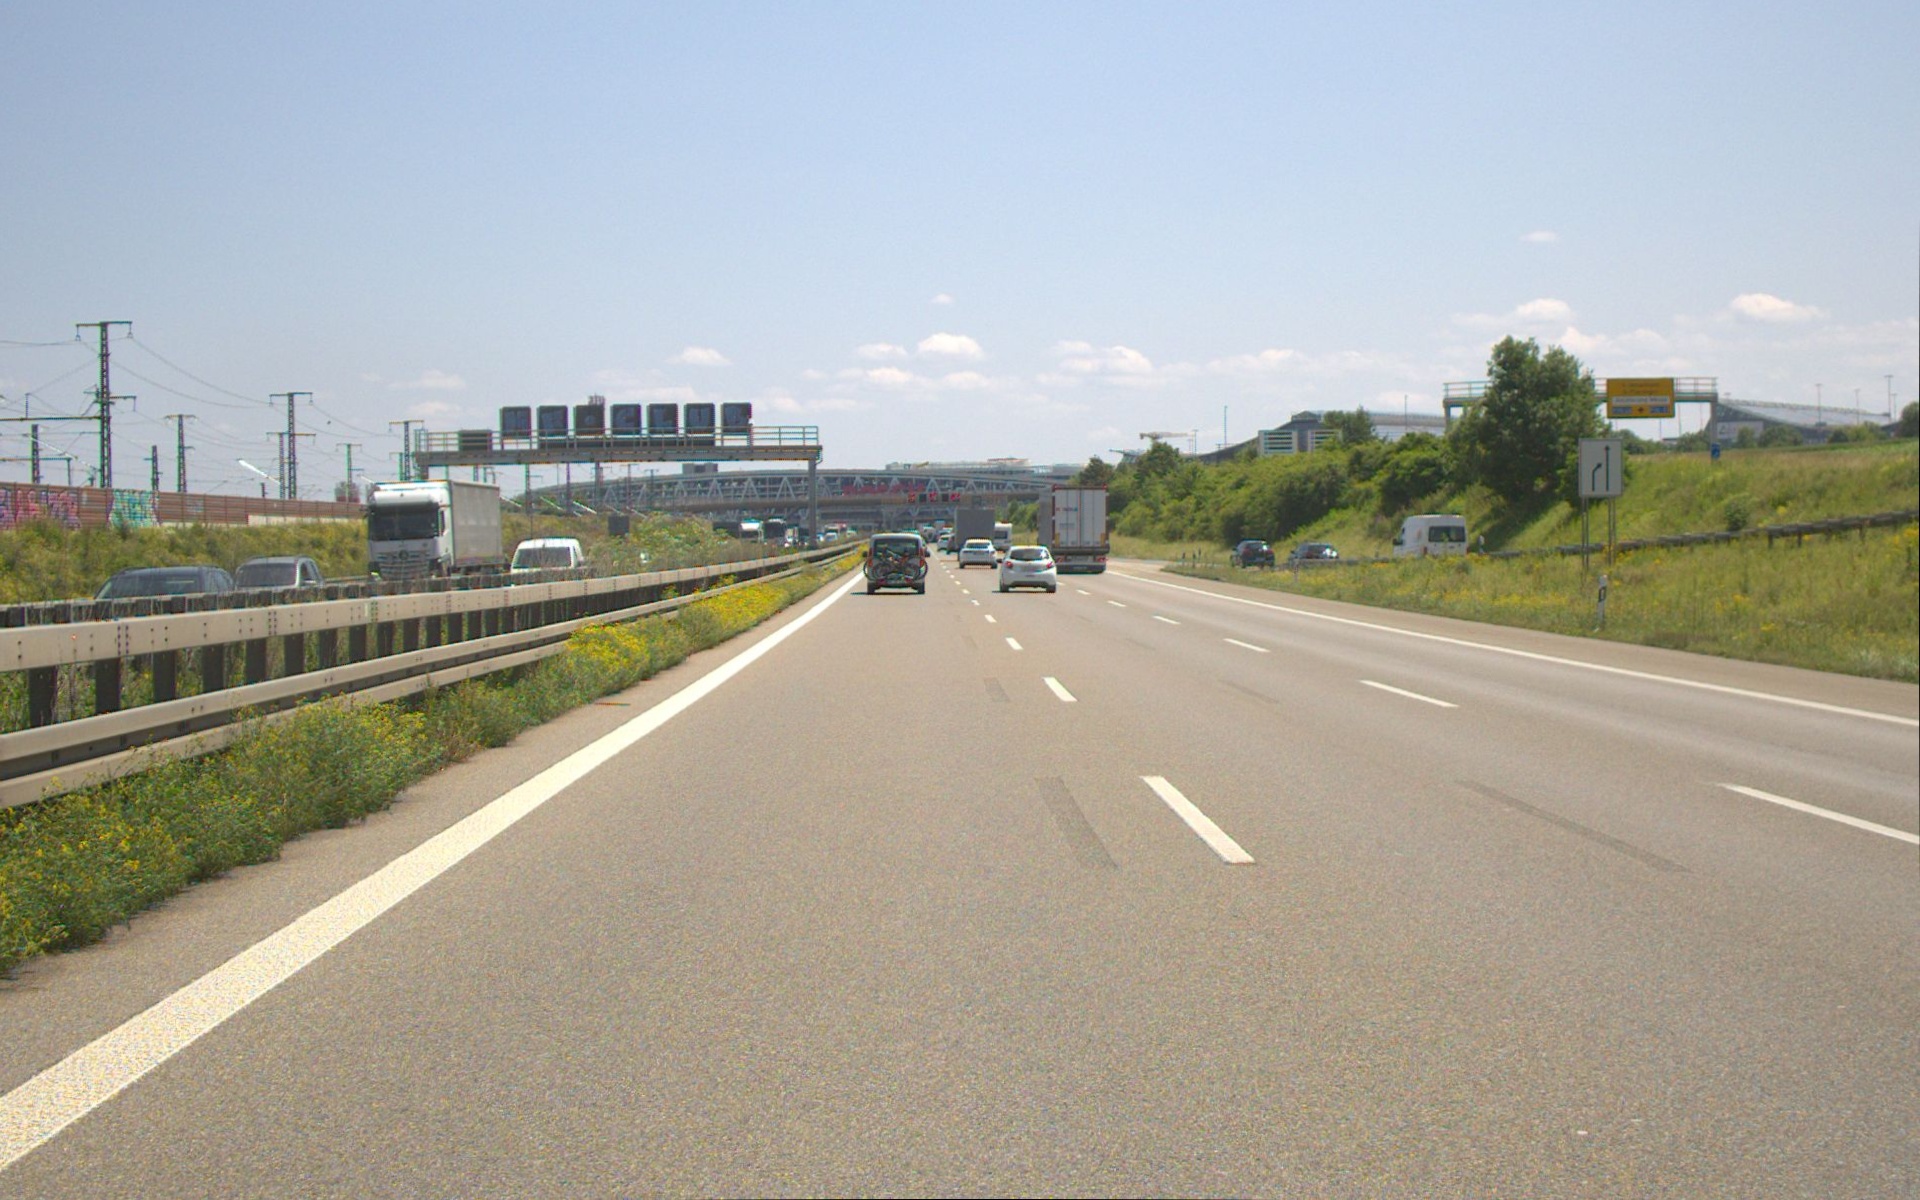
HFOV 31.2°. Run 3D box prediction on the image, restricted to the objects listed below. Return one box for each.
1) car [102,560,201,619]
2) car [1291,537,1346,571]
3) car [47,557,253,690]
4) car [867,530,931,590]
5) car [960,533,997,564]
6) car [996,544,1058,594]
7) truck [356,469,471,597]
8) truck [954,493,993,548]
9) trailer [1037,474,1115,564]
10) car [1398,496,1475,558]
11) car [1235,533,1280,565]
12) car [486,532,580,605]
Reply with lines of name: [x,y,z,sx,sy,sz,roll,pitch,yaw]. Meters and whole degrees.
car: [-21.587,-0.288,91.923,1.754,1.514,3.836,0,1,0]
car: [17.050,-2.189,163.670,1.993,1.503,4.000,1,0,-3]
car: [-10.528,0.297,44.948,1.719,1.628,4.192,1,0,-1]
car: [-1.825,-1.216,104.489,1.880,1.769,4.000,-1,0,0]
car: [0.938,-2.614,175.190,1.881,1.521,4.000,0,0,0]
car: [2.141,-0.971,108.463,1.881,1.521,4.000,0,0,2]
truck: [-18.132,-2.224,114.400,2.730,4.058,6.381,-1,1,0]
truck: [0.833,-5.023,217.631,2.355,3.404,6.057,0,1,0]
trailer: [5.339,-3.756,160.073,3.177,4.045,9.440,-1,1,0]
car: [19.822,-3.046,143.248,2.274,2.519,5.400,0,1,-2]
car: [15.861,-2.701,183.445,1.993,1.590,4.000,1,0,-1]
car: [-10.715,-0.823,86.434,1.816,1.779,4.538,0,1,0]
